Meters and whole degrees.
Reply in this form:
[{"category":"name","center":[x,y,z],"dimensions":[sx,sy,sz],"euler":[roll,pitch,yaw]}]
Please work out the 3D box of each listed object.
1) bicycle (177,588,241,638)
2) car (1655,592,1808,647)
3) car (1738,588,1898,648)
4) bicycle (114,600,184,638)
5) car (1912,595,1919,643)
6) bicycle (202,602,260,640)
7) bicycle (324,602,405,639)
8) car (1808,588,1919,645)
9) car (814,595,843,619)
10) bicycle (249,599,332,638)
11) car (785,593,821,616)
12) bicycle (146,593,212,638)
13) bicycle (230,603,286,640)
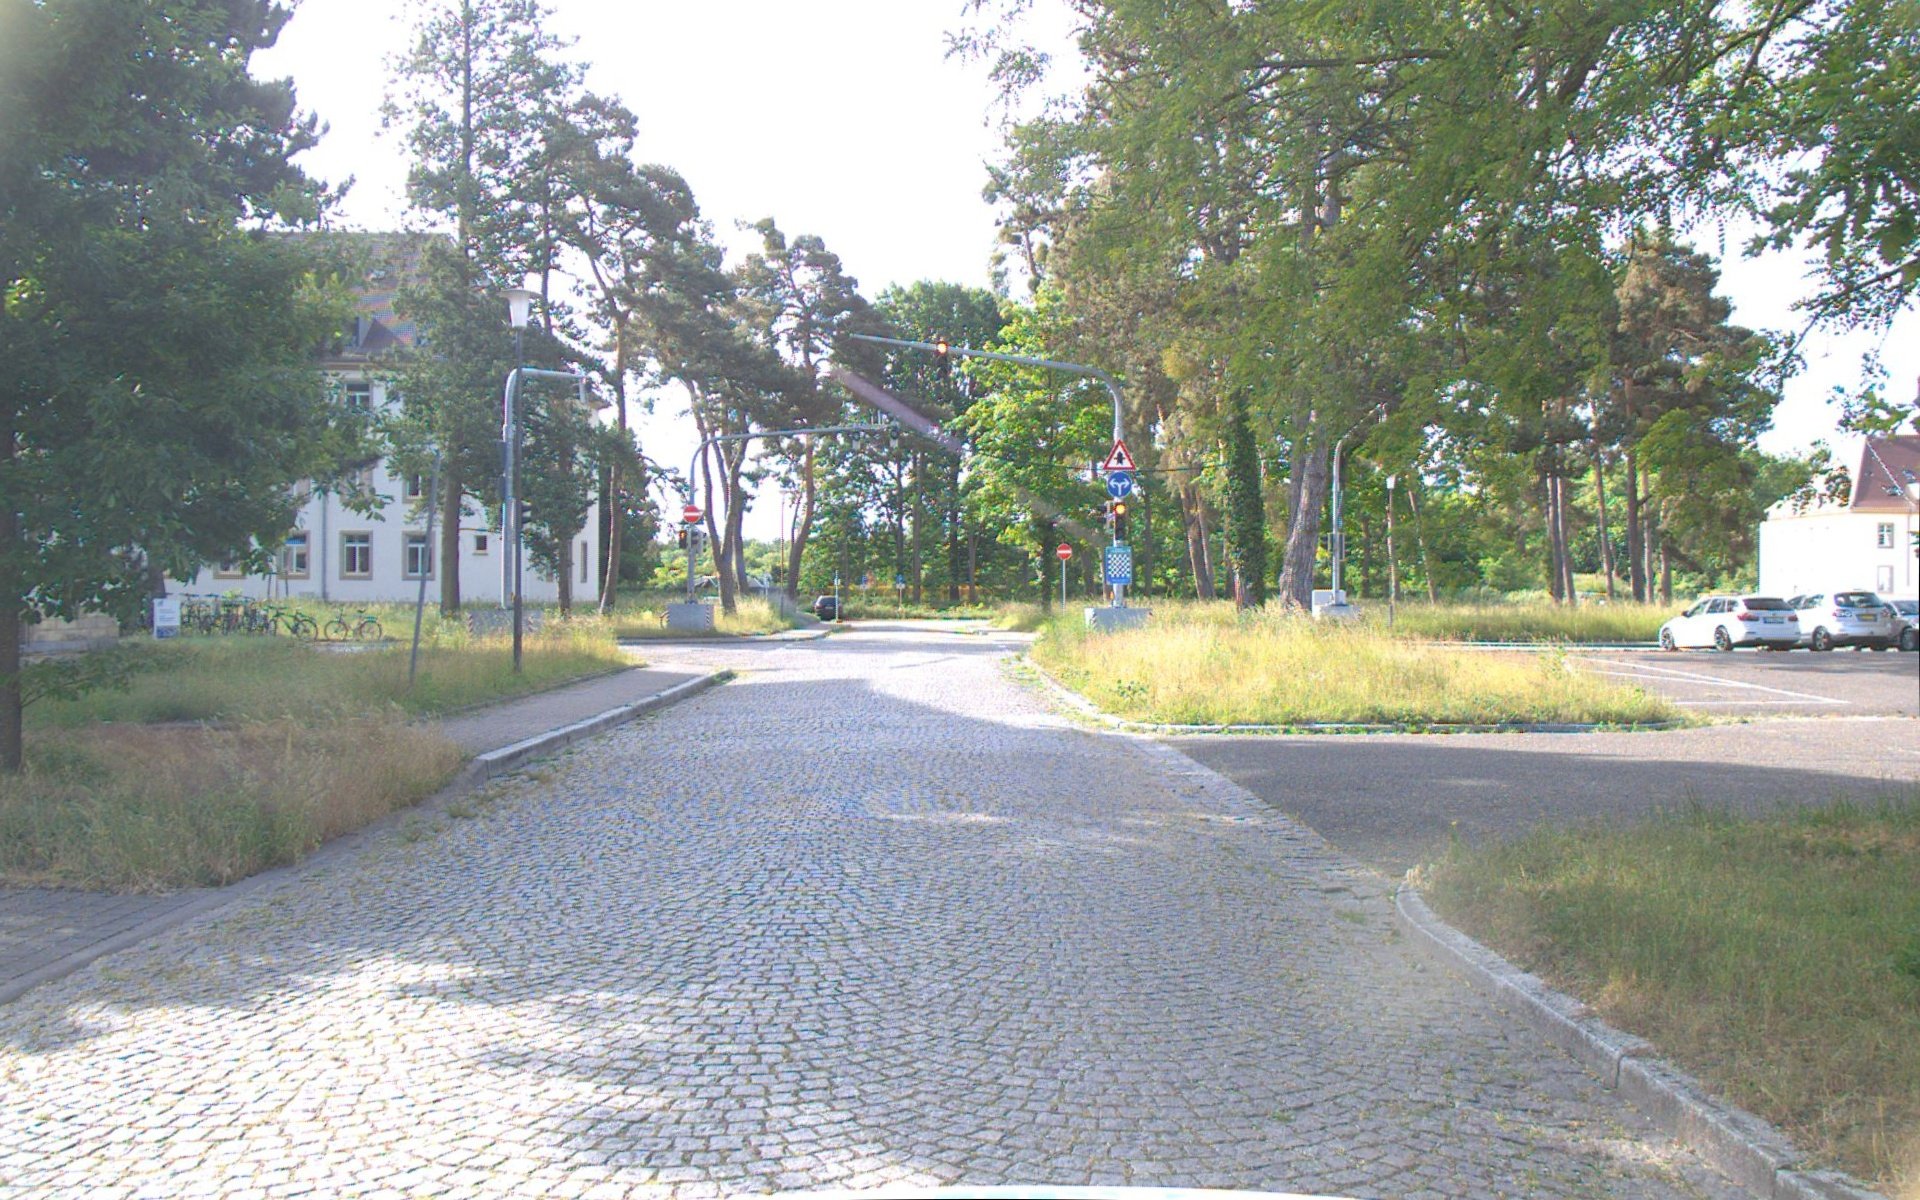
[{"category":"bicycle","center":[-22.442,0.380,49.495],"dimensions":[0.809,1.462,2.553],"euler":[0,0,-2]},{"category":"car","center":[20.000,0.467,43.101],"dimensions":[1.697,1.335,4.327],"euler":[0,0,-5]},{"category":"car","center":[22.463,0.439,43.489],"dimensions":[1.697,1.502,4.327],"euler":[0,0,-5]},{"category":"bicycle","center":[-24.077,0.551,49.141],"dimensions":[0.882,1.065,2.553],"euler":[0,0,-2]},{"category":"car","center":[27.697,0.540,44.242],"dimensions":[1.697,1.335,4.327],"euler":[0,0,-5]},{"category":"bicycle","center":[-21.658,0.612,49.179],"dimensions":[0.809,1.065,2.123],"euler":[0,0,-2]},{"category":"bicycle","center":[-17.351,0.588,48.206],"dimensions":[2.076,1.065,0.828],"euler":[0,0,-5]},{"category":"car","center":[24.628,0.411,43.937],"dimensions":[1.697,1.335,4.328],"euler":[-2,1,-5]},{"category":"car","center":[-8.394,0.425,105.944],"dimensions":[1.808,1.512,3.997],"euler":[0,0,-4]},{"category":"bicycle","center":[-19.432,0.538,48.044],"dimensions":[2.076,1.128,0.828],"euler":[0,0,-5]},{"category":"car","center":[-10.499,0.273,110.651],"dimensions":[1.745,1.516,3.757],"euler":[0,0,5]},{"category":"bicycle","center":[-23.193,0.455,49.169],"dimensions":[0.809,1.303,2.553],"euler":[0,0,-2]},{"category":"bicycle","center":[-20.892,0.632,49.247],"dimensions":[0.809,1.065,2.123],"euler":[0,0,-2]}]
